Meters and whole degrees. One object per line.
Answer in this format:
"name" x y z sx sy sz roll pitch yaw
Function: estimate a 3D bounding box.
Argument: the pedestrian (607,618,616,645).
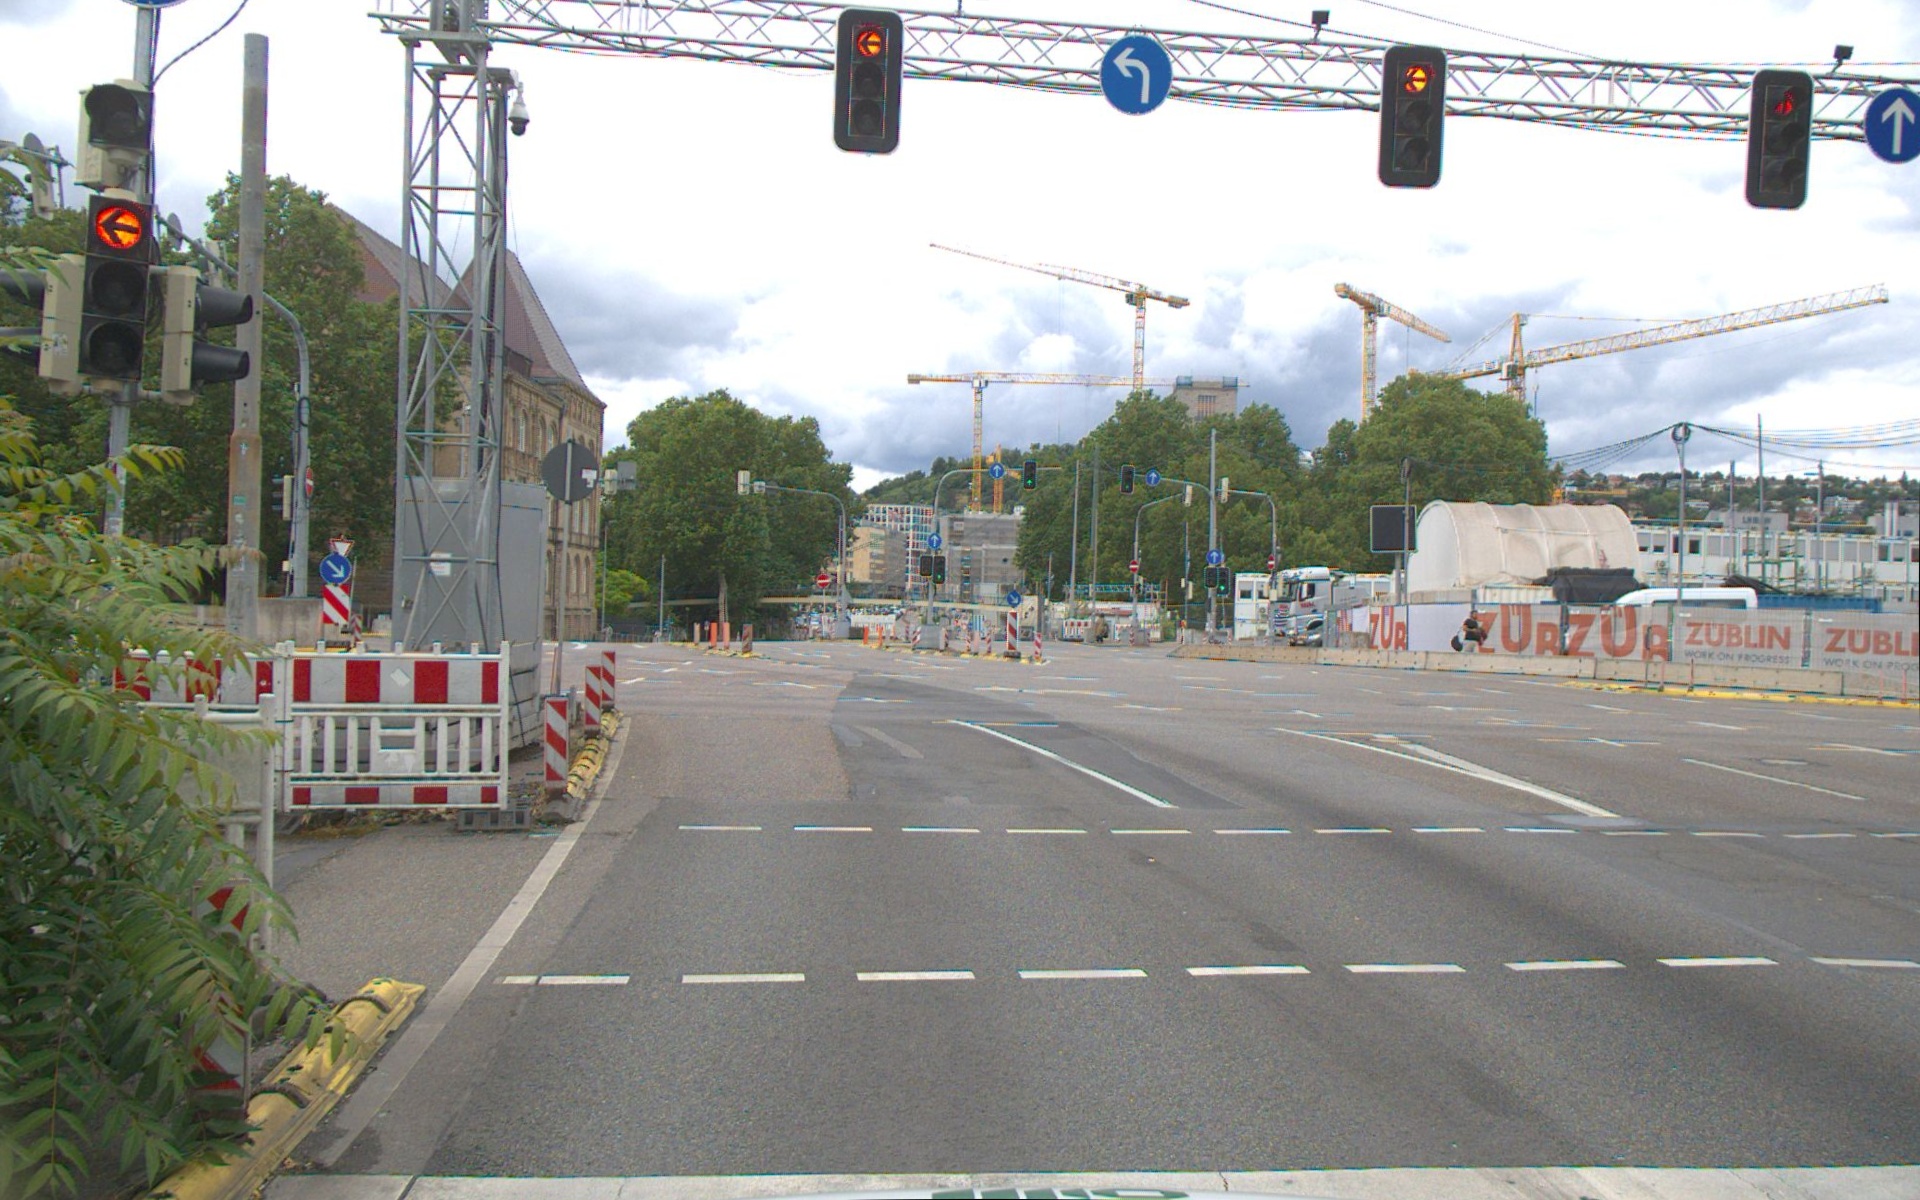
"pedestrian" -26.766 2.390 127.126 0.513 2.049 0.566 1 0 -1

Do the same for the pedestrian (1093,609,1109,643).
"pedestrian" 7.150 1.316 83.922 0.714 1.718 0.677 2 0 -1

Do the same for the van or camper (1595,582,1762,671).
"van or camper" 20.730 0.740 47.909 4.123 2.398 2.002 1 0 14

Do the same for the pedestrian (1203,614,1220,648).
"pedestrian" 12.841 1.589 84.378 0.609 1.718 0.710 2 0 28

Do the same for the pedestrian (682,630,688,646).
"pedestrian" -29.919 4.138 180.098 0.525 1.620 0.515 1 0 -5

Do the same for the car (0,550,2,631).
"car" -19.707 -0.127 29.349 4.239 1.705 1.993 2 0 -14

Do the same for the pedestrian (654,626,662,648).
"pedestrian" -28.254 3.435 154.741 0.513 2.049 0.566 1 0 -1

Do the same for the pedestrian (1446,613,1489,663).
"pedestrian" 14.679 1.085 47.825 0.785 1.402 0.899 2 0 -22

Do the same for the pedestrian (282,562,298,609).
"pedestrian" -29.522 -0.624 72.869 0.523 2.049 0.421 2 0 -44

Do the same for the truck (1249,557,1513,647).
"truck" 21.000 0.156 82.318 12.837 4.111 3.927 1 0 -21

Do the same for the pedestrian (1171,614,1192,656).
"pedestrian" 9.066 1.426 67.621 0.714 1.718 0.677 2 0 -1
